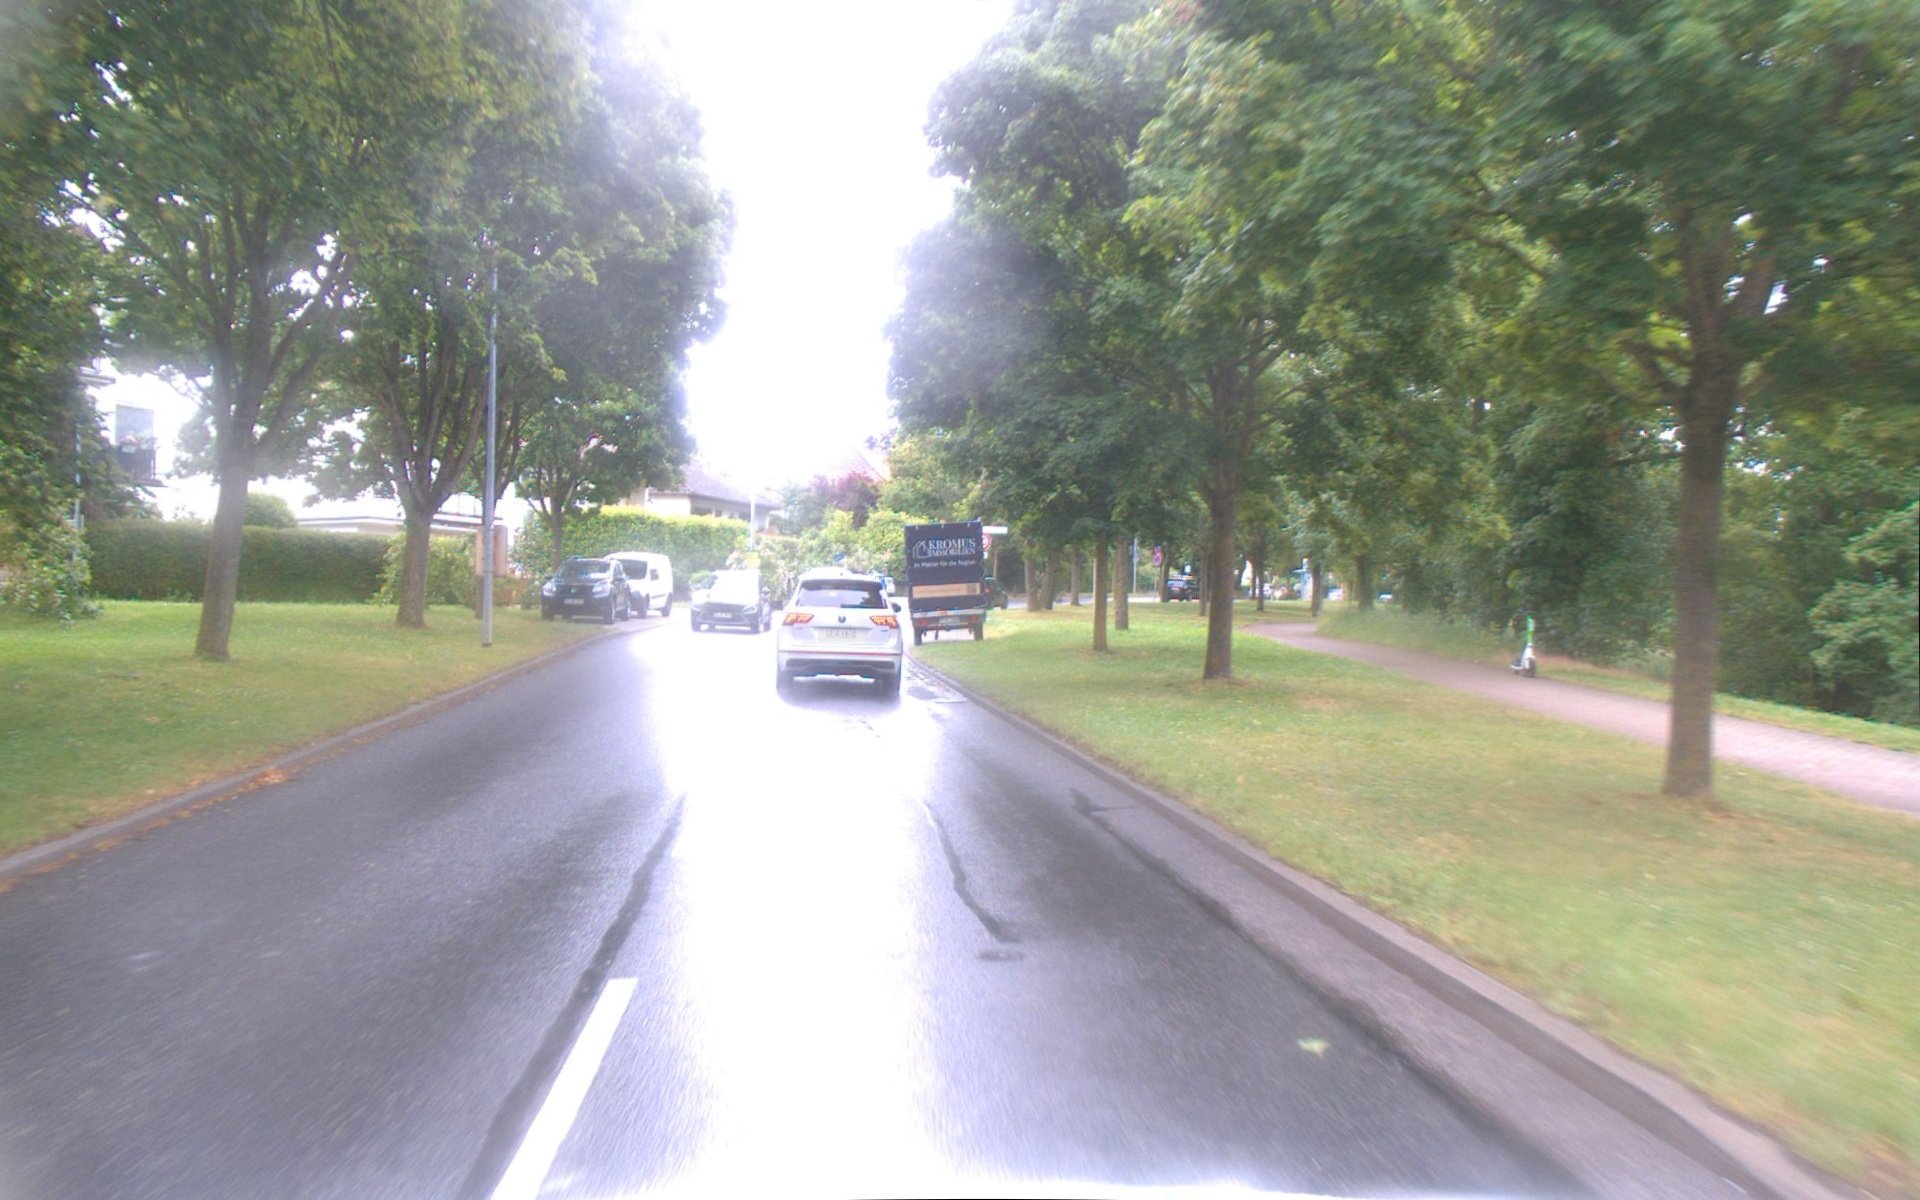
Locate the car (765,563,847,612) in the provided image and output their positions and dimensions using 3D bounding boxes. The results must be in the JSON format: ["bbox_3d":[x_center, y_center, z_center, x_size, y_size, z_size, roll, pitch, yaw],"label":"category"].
[{"bbox_3d":[-5.761,-0.488,62.359,1.812,1.721,4.409,2,1,11],"label":"car"}]

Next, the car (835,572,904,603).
[{"bbox_3d":[-4.962,-0.664,90.562,3.332,1.545,1.732,3,1,17],"label":"car"}]

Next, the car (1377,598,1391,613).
[{"bbox_3d":[50.268,0.675,195.962,1.391,1.597,3.433,4,0,12],"label":"car"}]

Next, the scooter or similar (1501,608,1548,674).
[{"bbox_3d":[10.227,0.728,30.003,0.453,1.167,1.301,0,0,2],"label":"scooter or similar"}]

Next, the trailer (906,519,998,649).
[{"bbox_3d":[-0.258,-0.401,40.776,1.954,2.857,5.606,-3,1,-2],"label":"trailer"}]

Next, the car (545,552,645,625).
[{"bbox_3d":[-9.390,-0.277,42.901,1.715,1.669,4.589,4,0,-3],"label":"car"}]

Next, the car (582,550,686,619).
[{"bbox_3d":[-9.426,-0.434,48.150,1.761,1.827,4.375,3,0,5],"label":"car"}]

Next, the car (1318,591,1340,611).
[{"bbox_3d":[38.498,0.095,172.694,1.952,1.839,4.002,4,0,15],"label":"car"}]

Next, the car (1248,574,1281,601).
[{"bbox_3d":[24.121,-0.968,130.911,1.952,1.836,4.001,4,0,19],"label":"car"}]

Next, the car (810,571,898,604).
[{"bbox_3d":[-5.586,-0.672,87.364,4.149,1.566,2.053,3,1,17],"label":"car"}]

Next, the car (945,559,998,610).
[{"bbox_3d":[0.539,-0.658,73.551,1.861,2.048,3.947,4,0,6],"label":"car"}]

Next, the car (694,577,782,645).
[{"bbox_3d":[-5.851,0.259,43.934,1.753,1.563,4.092,4,1,-1],"label":"car"}]

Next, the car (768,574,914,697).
[{"bbox_3d":[-1.872,0.472,24.836,1.937,1.681,4.170,0,0,-7],"label":"car"}]
